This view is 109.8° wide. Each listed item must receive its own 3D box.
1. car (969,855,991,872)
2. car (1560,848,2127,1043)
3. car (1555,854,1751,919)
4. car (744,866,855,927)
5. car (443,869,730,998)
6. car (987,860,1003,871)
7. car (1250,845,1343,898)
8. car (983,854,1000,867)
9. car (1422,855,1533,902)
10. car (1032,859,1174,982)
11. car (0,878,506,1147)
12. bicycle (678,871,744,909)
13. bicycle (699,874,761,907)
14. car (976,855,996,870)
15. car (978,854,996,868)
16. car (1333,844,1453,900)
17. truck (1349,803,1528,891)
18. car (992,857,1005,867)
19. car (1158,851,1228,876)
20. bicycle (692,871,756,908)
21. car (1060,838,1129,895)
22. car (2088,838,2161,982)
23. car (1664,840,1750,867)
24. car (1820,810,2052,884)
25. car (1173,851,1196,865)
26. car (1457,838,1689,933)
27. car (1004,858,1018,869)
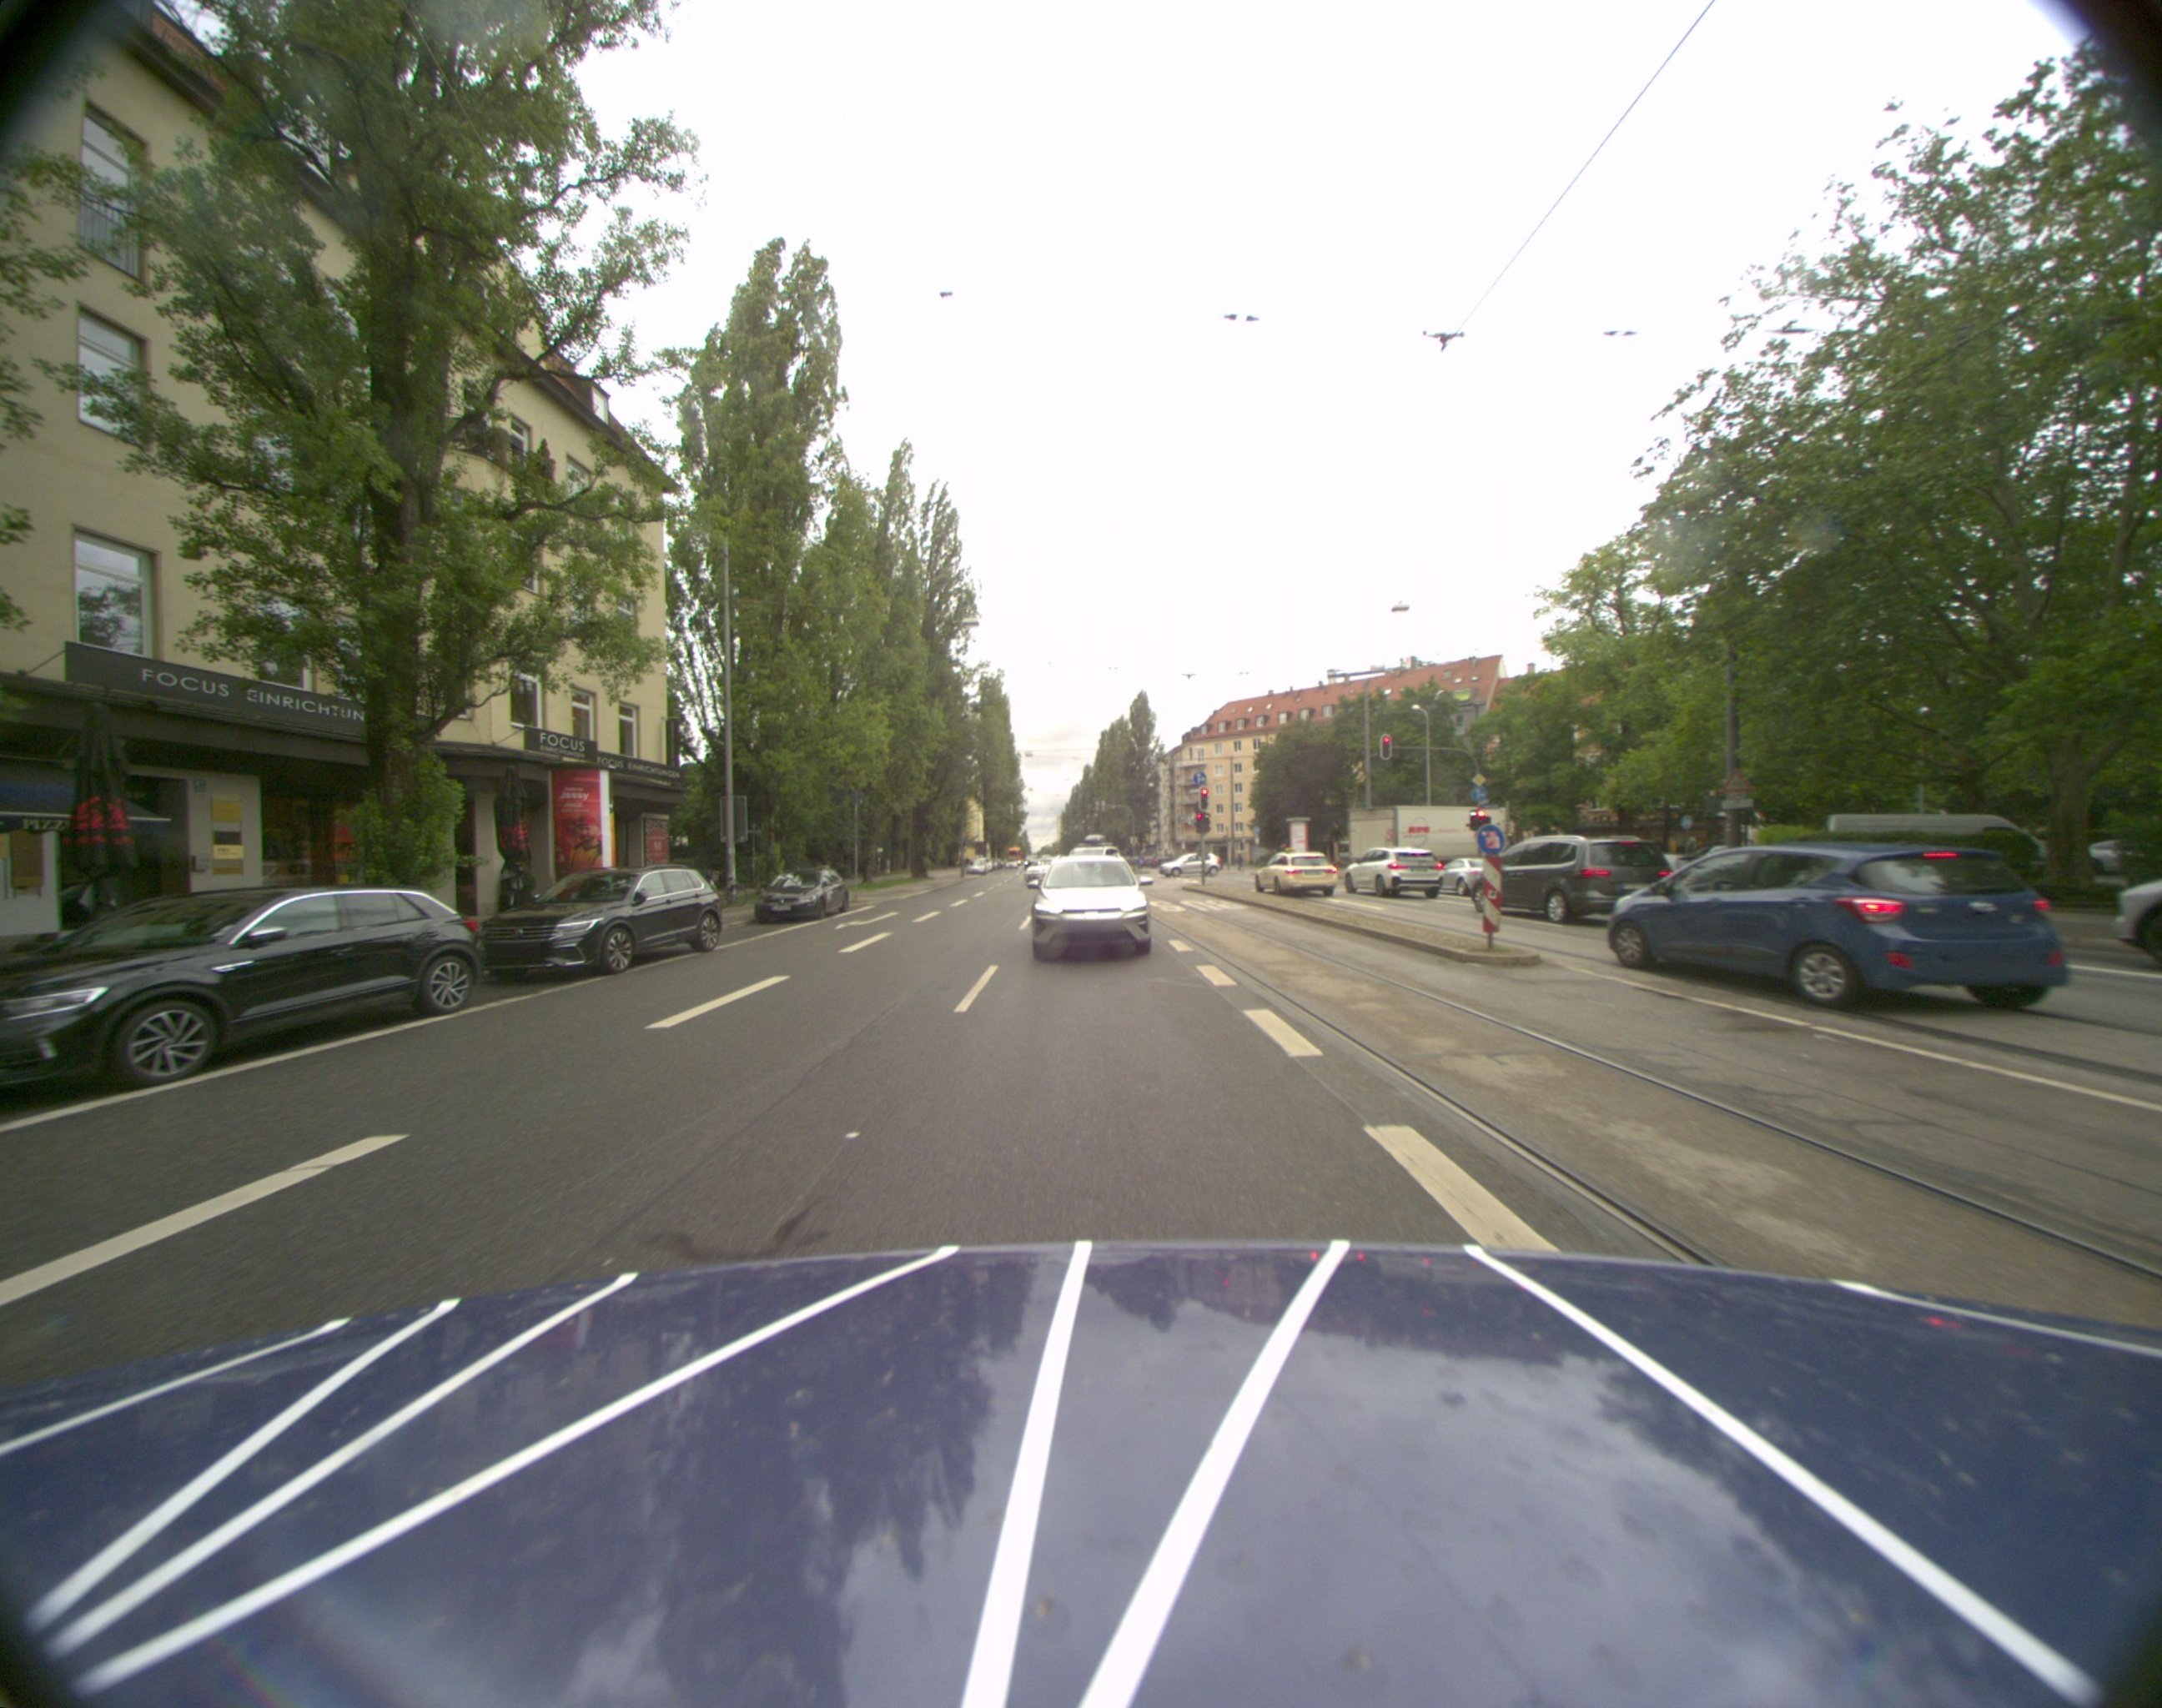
[{"bbox_3d":[-9.772,0.887,73.841,1.786,1.477,4.350,-1,0,-4],"label":"car"},{"bbox_3d":[7.373,0.714,8.173,1.803,1.514,4.354,0,1,2],"label":"car"},{"bbox_3d":[13.805,0.724,18.693,1.826,1.373,4.099,-1,0,2],"label":"car"},{"bbox_3d":[-7.959,1.142,21.894,1.804,1.457,3.999,-2,0,-2],"label":"car"},{"bbox_3d":[-7.715,1.123,12.497,1.725,1.603,4.470,-1,0,1],"label":"car"},{"bbox_3d":[-11.589,1.541,102.679,1.786,1.477,4.138,-1,0,-3],"label":"car"},{"bbox_3d":[7.384,0.539,26.533,1.826,1.629,4.890,-1,0,0],"label":"car"},{"bbox_3d":[-11.250,0.829,95.818,1.786,1.477,4.138,-1,0,-3],"label":"car"},{"bbox_3d":[13.492,0.774,26.152,1.735,1.403,4.103,2,0,2],"label":"car"},{"bbox_3d":[0.196,0.884,11.761,1.775,1.515,4.208,-1,-1,-3],"label":"car"},{"bbox_3d":[-7.943,1.119,7.090,1.804,1.603,4.305,-1,0,1],"label":"car"},{"bbox_3d":[-12.132,1.182,24.953,1.888,1.178,0.496,-1,1,-2],"label":"bicycle"},{"bbox_3d":[-12.079,1.266,26.184,1.888,1.075,0.496,-1,1,-2],"label":"bicycle"},{"bbox_3d":[-10.004,0.828,80.079,1.786,1.477,4.257,-1,0,-4],"label":"car"},{"bbox_3d":[-10.479,0.806,84.909,1.786,1.477,4.138,-1,0,-3],"label":"car"},{"bbox_3d":[10.295,0.528,25.526,1.920,1.673,4.890,-1,0,-1],"label":"car"},{"bbox_3d":[18.467,-0.325,38.668,11.737,3.957,2.741,0,1,-35],"label":"truck"},{"bbox_3d":[-12.981,1.294,119.481,1.786,1.477,4.138,-1,0,-3],"label":"car"},{"bbox_3d":[7.327,0.652,49.971,4.208,1.515,1.775,-1,-1,-9],"label":"car"},{"bbox_3d":[-12.039,1.198,25.655,1.888,1.178,0.496,-1,1,-2],"label":"bicycle"},{"bbox_3d":[0.722,0.517,34.068,1.910,2.337,4.950,-1,0,15],"label":"car"},{"bbox_3d":[13.146,0.641,6.773,1.803,1.633,4.999,-1,0,2],"label":"car"},{"bbox_3d":[43.629,-0.021,53.007,4.552,1.809,1.937,-1,0,-3],"label":"car"},{"bbox_3d":[26.999,-0.303,24.313,4.612,2.003,2.004,6,4,42],"label":"car"},{"bbox_3d":[11.444,0.435,84.072,1.730,1.399,4.373,-1,0,-3],"label":"car"},{"bbox_3d":[10.027,0.554,16.063,1.826,1.673,4.891,-1,0,2],"label":"car"},{"bbox_3d":[-9.914,1.306,108.336,1.786,1.477,4.138,-1,0,-3],"label":"car"}]
